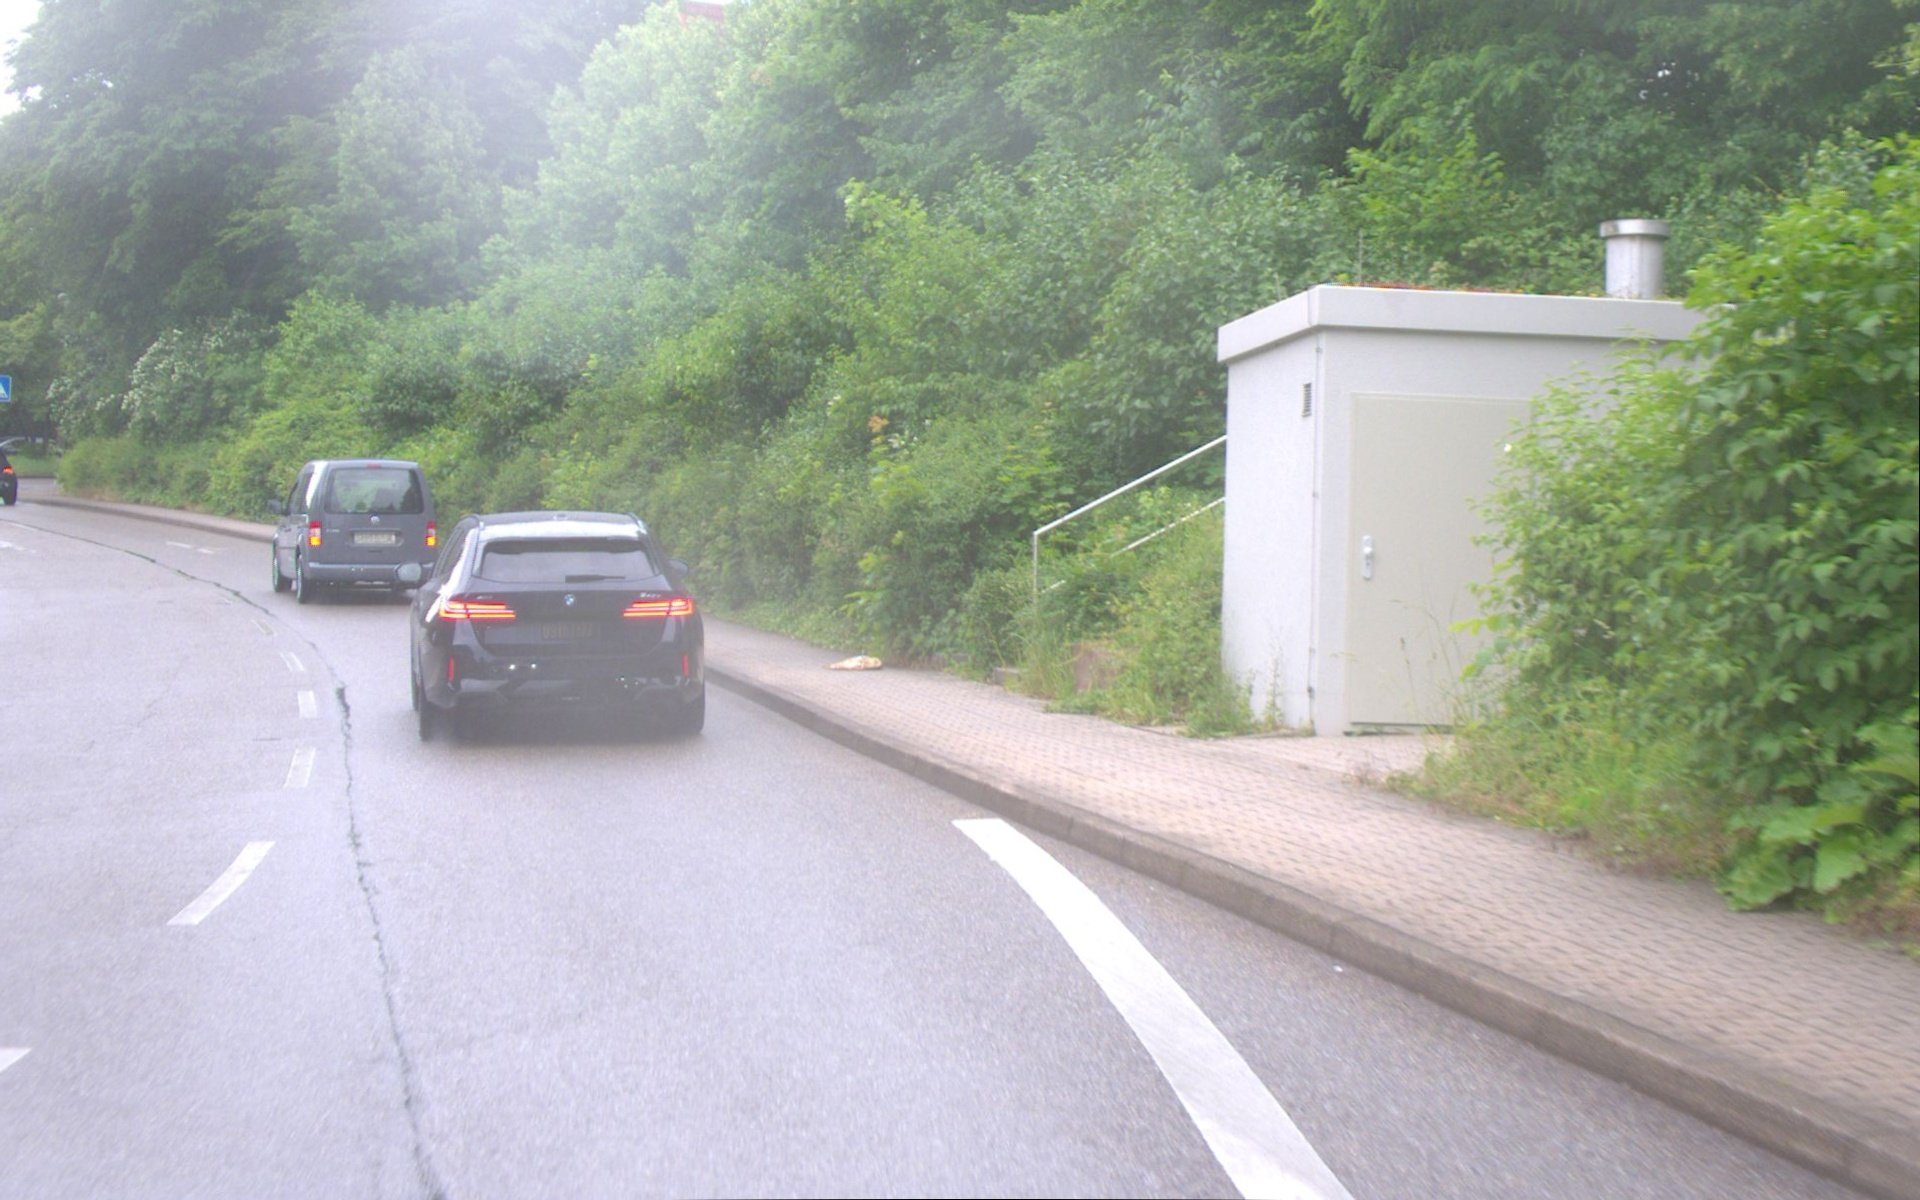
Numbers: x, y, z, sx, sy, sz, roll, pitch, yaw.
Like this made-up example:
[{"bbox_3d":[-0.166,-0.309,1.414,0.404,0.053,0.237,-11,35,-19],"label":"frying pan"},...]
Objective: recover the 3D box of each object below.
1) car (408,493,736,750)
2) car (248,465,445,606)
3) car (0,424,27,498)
[{"bbox_3d":[-2.804,0.091,23.946,1.993,1.581,4.664,1,1,-10],"label":"car"},{"bbox_3d":[-7.975,-0.861,44.435,1.993,1.742,4.002,0,2,-18],"label":"car"},{"bbox_3d":[-23.706,-3.304,81.893,1.851,1.656,4.000,1,0,-30],"label":"car"}]
